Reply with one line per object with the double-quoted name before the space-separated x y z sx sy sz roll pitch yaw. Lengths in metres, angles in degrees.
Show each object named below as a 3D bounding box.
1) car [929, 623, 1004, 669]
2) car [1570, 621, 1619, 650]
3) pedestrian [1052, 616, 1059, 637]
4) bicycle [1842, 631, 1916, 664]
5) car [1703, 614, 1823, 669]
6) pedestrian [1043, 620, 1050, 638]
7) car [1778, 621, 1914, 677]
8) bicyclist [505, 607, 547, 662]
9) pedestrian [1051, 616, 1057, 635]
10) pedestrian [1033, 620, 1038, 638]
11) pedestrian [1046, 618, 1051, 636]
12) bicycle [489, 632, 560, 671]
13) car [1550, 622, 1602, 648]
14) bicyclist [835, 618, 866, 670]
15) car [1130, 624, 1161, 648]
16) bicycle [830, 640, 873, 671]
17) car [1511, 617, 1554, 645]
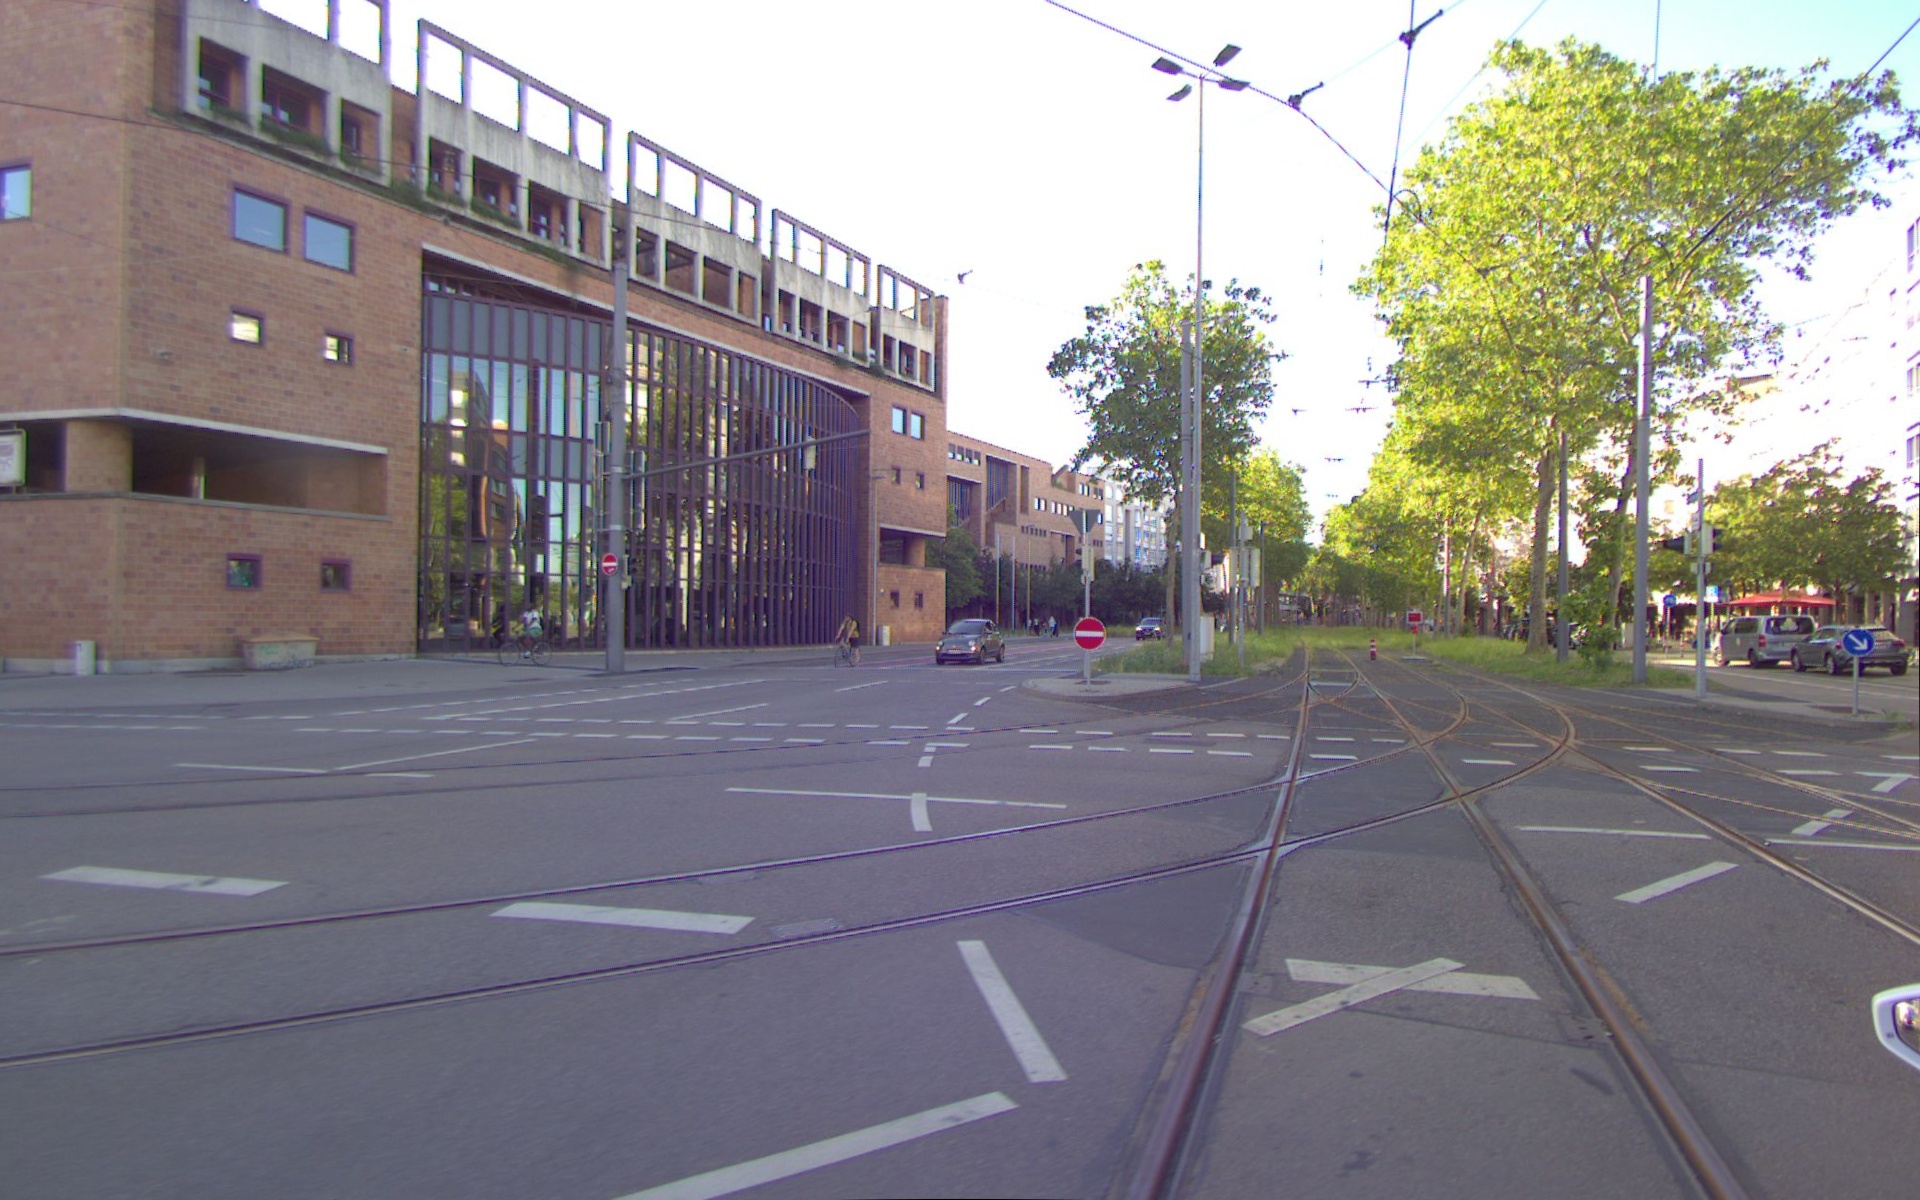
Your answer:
"car" 0.275 1.495 33.806 1.622 1.346 3.623 0 0 16
"car" 37.809 2.103 59.904 1.829 1.660 3.866 -1 -1 23
"pedestrian" 7.715 2.142 80.976 0.429 1.727 0.479 0 -1 27
"bicycle" 33.265 1.711 36.370 1.835 1.116 0.741 0 -1 17
"car" 29.722 1.501 37.395 1.891 1.867 4.925 -3 -2 19
"pedestrian" 6.772 2.278 78.813 0.384 1.435 0.458 0 -1 27
"car" 28.029 1.515 31.953 1.830 1.593 4.413 -3 -2 22
"bicyclist" -12.986 1.026 30.068 0.675 1.611 0.925 0 -1 35
"pedestrian" 7.532 2.059 80.339 0.359 1.543 0.422 0 -1 28
"pedestrian" 5.955 2.264 79.147 0.359 1.439 0.331 0 -1 28
"pedestrian" 7.081 2.180 80.504 0.313 1.476 0.341 0 -1 26
"bicycle" -12.983 1.513 29.987 0.606 1.094 1.914 0 -1 34
"car" 39.928 2.247 65.216 1.954 1.650 4.086 -1 -2 19
"bicyclist" -3.504 1.407 32.231 0.613 1.643 0.812 0 -1 33
"car" 13.435 2.551 72.551 1.792 1.583 4.343 0 0 16
"bicycle" -3.477 1.774 32.262 0.527 0.925 1.565 0 -1 32
"car" 43.504 2.342 76.386 1.996 2.003 4.415 -1 -1 19
